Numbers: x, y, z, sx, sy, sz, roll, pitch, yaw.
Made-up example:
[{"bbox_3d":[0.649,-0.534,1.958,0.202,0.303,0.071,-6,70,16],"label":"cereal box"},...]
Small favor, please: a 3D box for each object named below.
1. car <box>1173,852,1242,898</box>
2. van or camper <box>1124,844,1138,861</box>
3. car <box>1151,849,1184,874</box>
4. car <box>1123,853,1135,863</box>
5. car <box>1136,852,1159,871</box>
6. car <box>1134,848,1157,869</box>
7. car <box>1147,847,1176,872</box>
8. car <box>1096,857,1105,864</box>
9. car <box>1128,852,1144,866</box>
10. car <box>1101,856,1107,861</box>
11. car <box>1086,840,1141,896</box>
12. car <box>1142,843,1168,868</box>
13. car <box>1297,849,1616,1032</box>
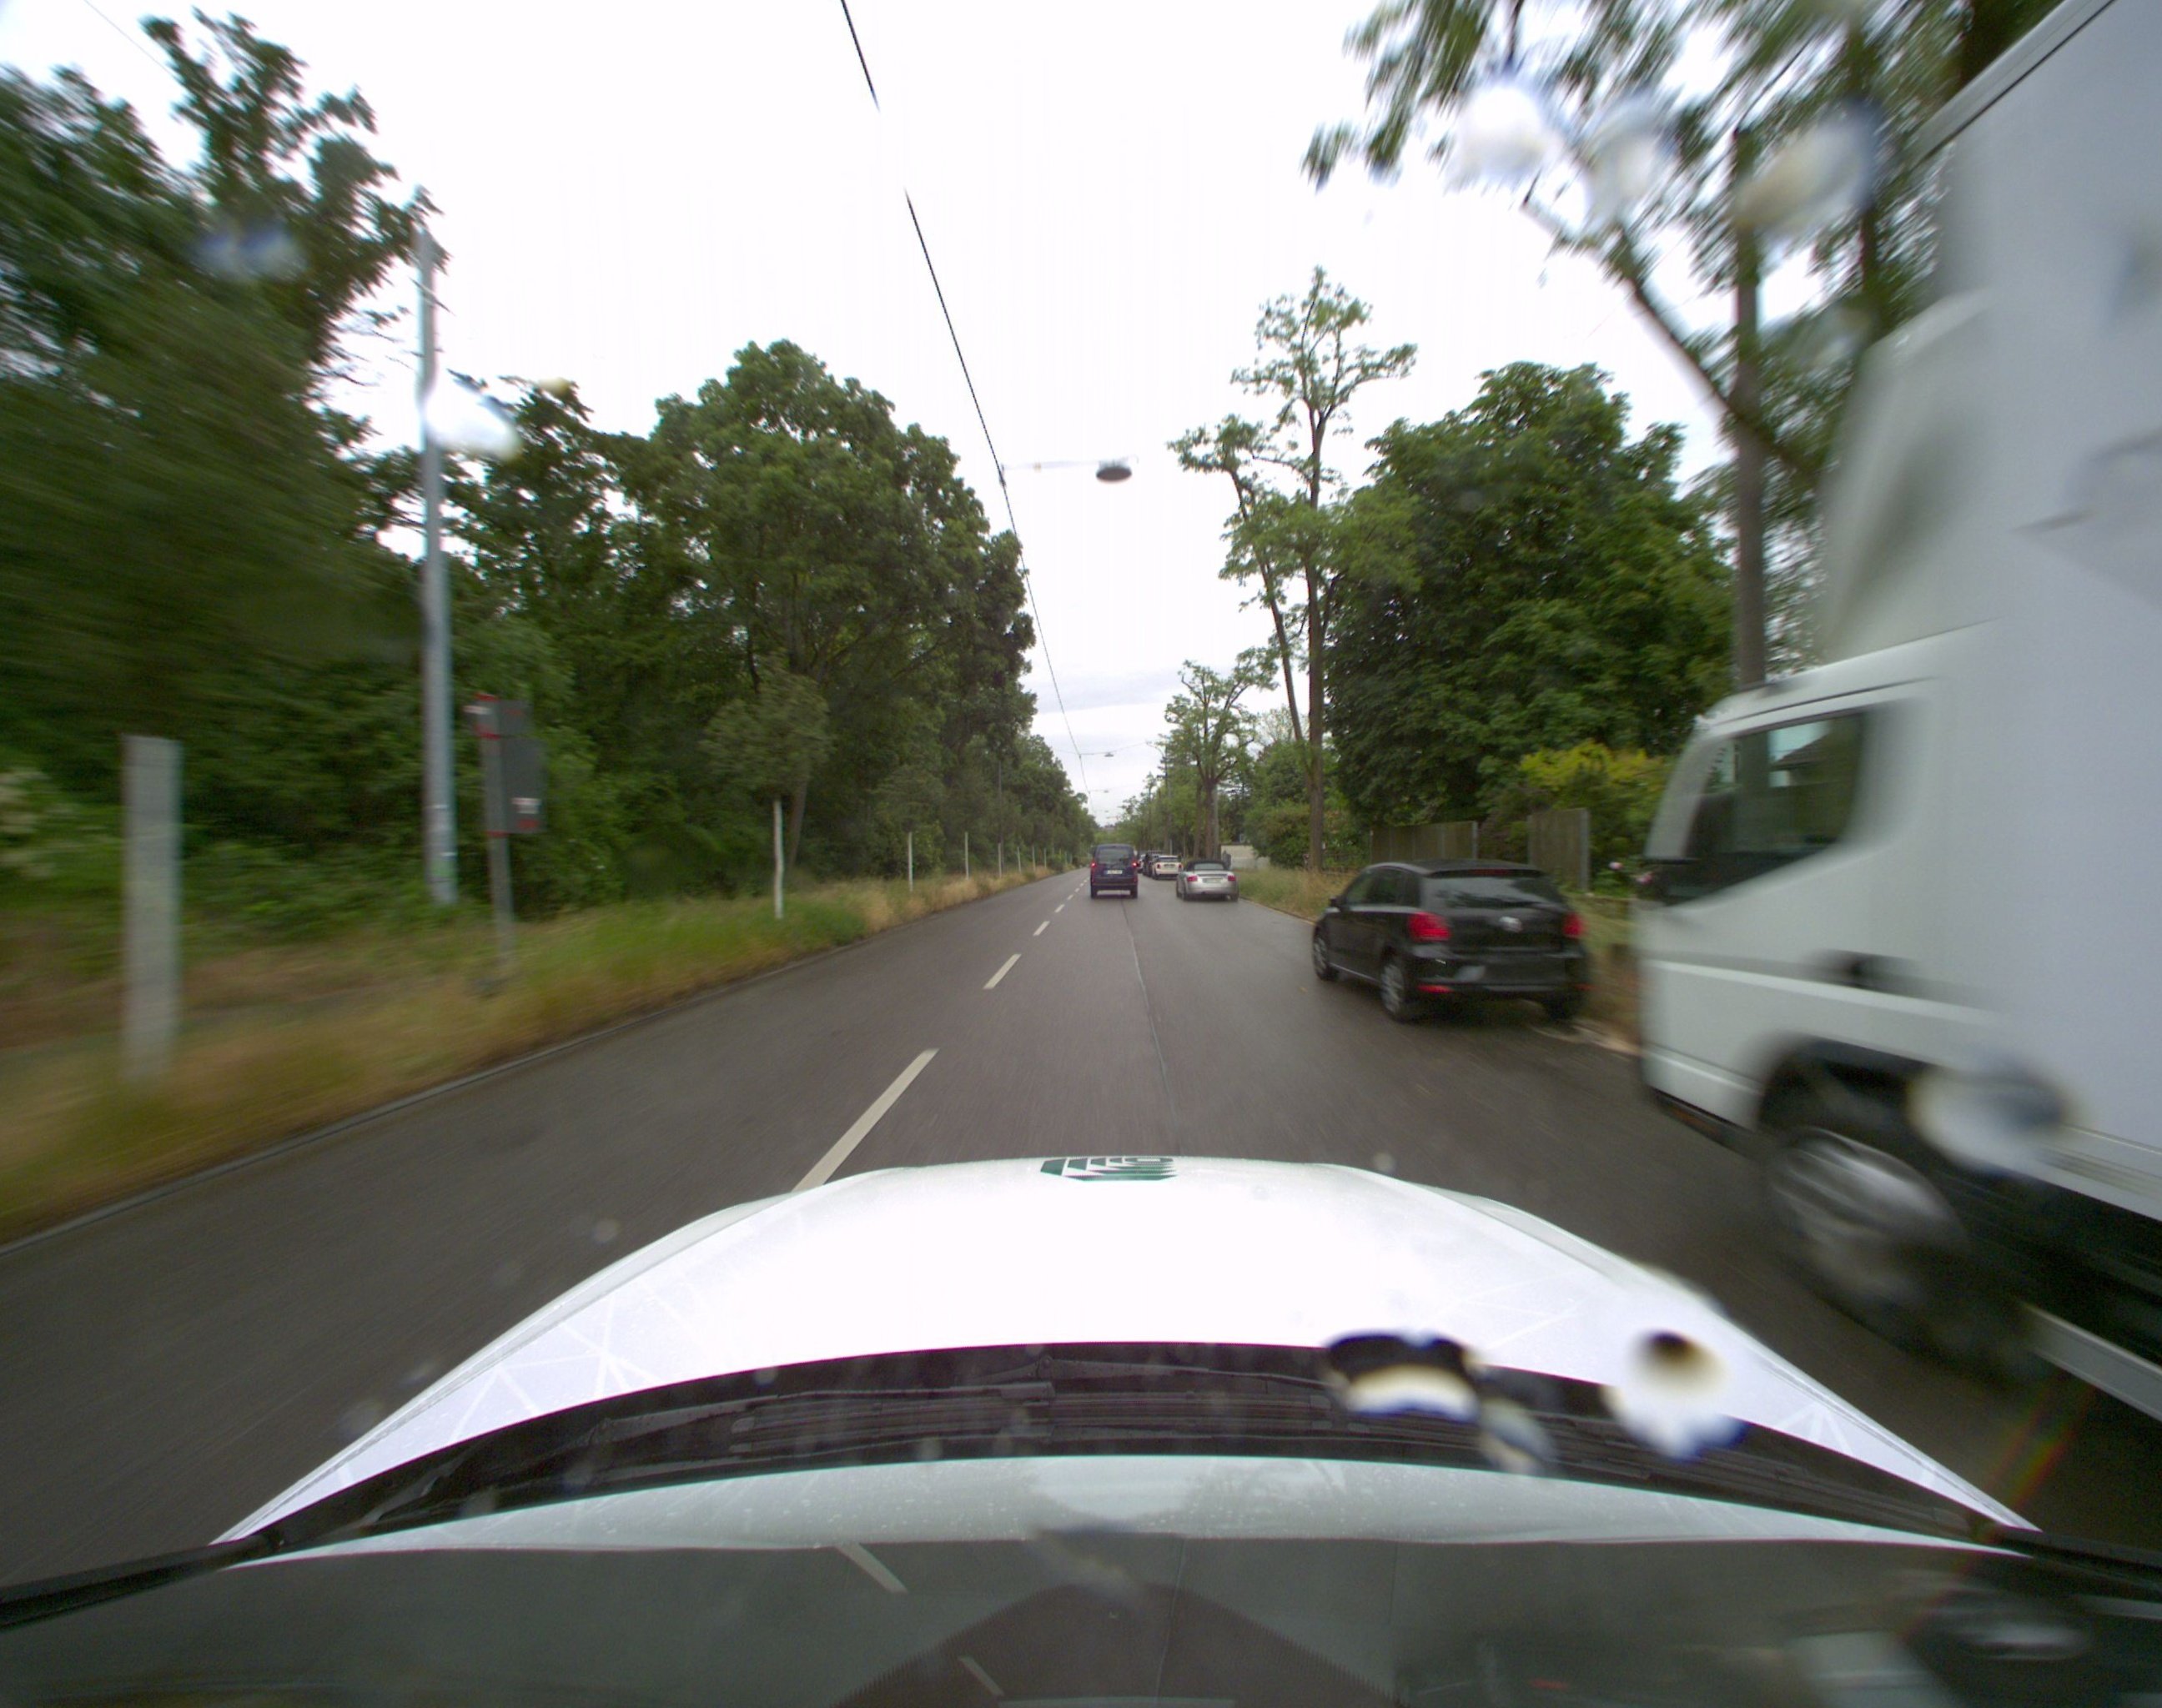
[{"bbox_3d":[4.170,0.657,27.436,1.776,1.395,4.001,0,0,1],"label":"car"},{"bbox_3d":[7.788,-0.266,128.206,2.070,2.650,5.348,0,0,2],"label":"van or camper"},{"bbox_3d":[5.199,0.422,49.127,1.731,1.464,3.727,0,0,2],"label":"car"},{"bbox_3d":[7.065,0.561,120.358,1.618,1.464,3.813,0,0,5],"label":"car"},{"bbox_3d":[5.735,0.642,70.853,1.798,1.613,4.288,0,0,2],"label":"car"},{"bbox_3d":[6.145,0.399,77.659,1.985,2.013,4.891,0,0,2],"label":"car"},{"bbox_3d":[5.340,0.333,54.434,1.672,1.555,4.078,0,0,2],"label":"car"},{"bbox_3d":[4.470,1.460,186.668,1.853,1.480,4.159,-2,0,2],"label":"car"},{"bbox_3d":[7.240,0.654,107.615,1.808,1.813,4.283,0,0,0],"label":"car"},{"bbox_3d":[6.874,1.384,239.603,1.777,1.479,3.969,-2,-1,2],"label":"car"},{"bbox_3d":[1.090,0.449,28.685,1.761,1.830,3.541,0,0,-1],"label":"car"},{"bbox_3d":[5.449,0.090,60.492,1.723,1.847,4.232,0,0,2],"label":"car"},{"bbox_3d":[3.560,0.680,8.566,1.634,1.464,4.002,0,0,2],"label":"car"}]
